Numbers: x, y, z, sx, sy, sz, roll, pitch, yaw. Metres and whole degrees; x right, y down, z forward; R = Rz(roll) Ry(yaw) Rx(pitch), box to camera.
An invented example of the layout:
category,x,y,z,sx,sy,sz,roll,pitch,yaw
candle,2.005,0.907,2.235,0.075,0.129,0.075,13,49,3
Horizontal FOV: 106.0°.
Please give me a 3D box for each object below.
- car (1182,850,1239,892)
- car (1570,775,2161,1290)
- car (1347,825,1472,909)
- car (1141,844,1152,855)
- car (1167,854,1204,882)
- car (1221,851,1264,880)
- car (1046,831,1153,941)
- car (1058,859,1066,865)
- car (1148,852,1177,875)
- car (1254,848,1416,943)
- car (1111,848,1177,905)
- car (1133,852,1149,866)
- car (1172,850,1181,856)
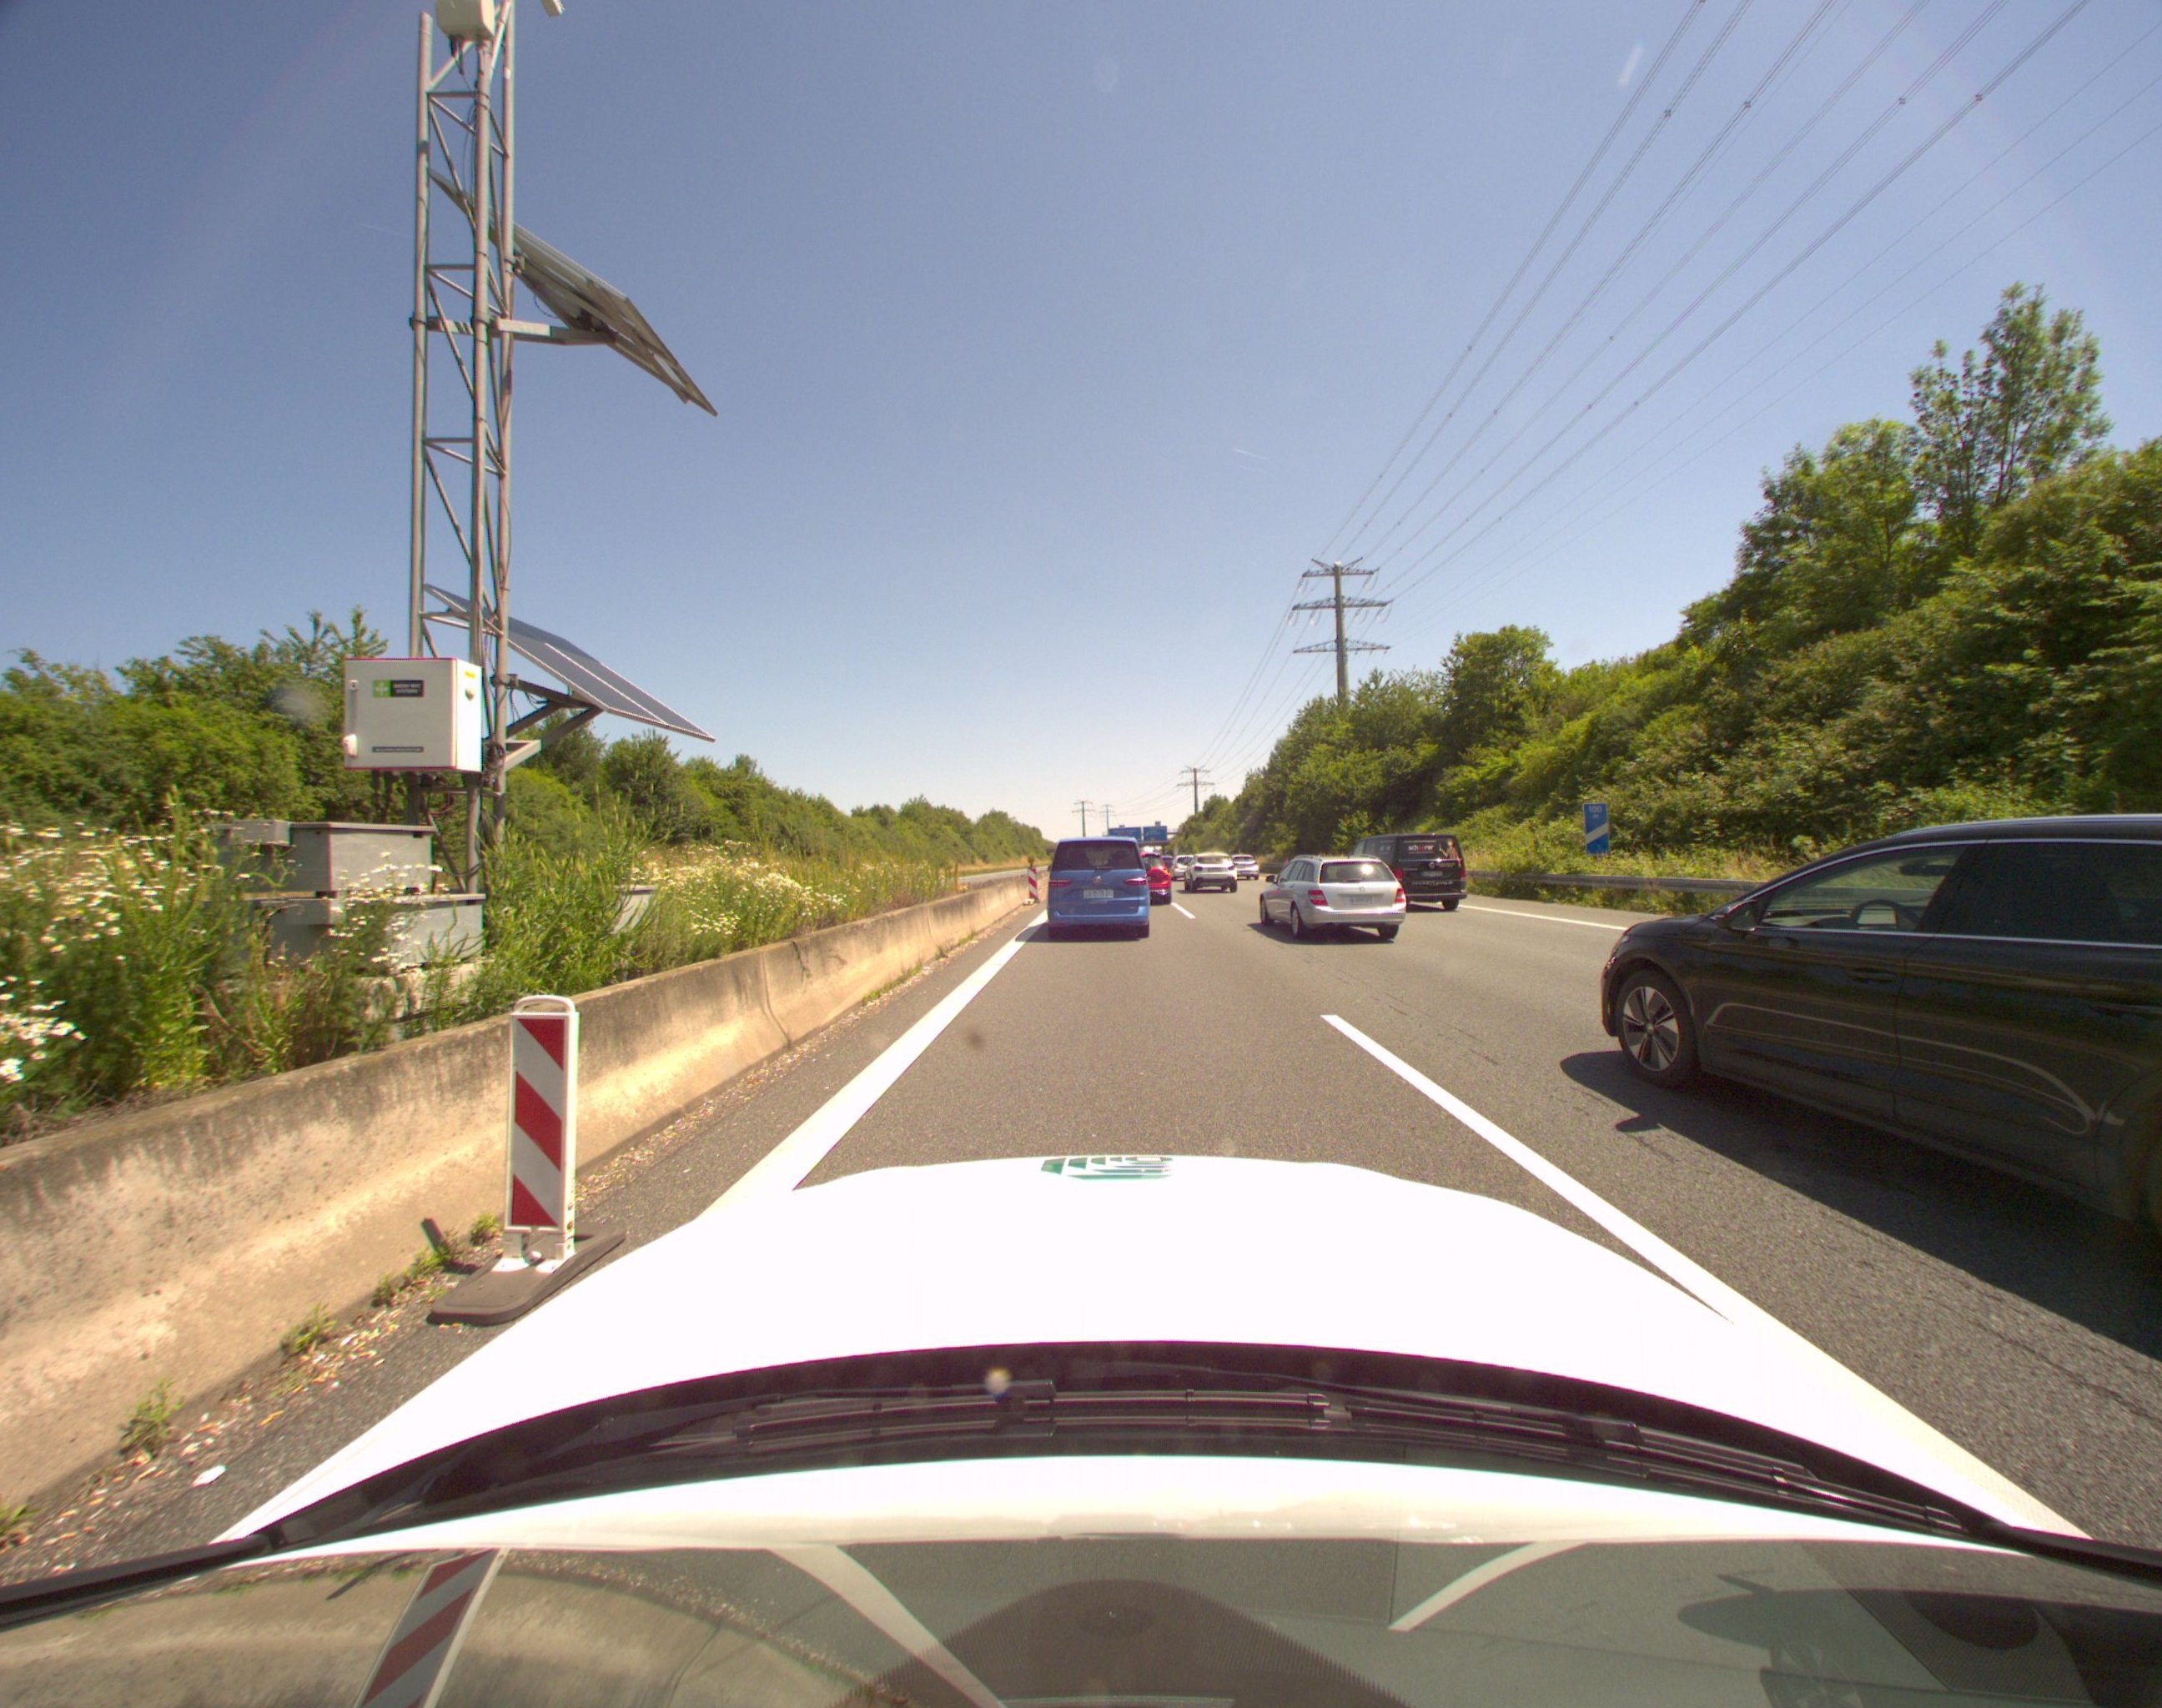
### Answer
category,x,y,z,sx,sy,sz,roll,pitch,yaw
car,5.160,0.649,32.971,1.791,1.594,4.228,0,0,2
car,4.331,0.576,3.627,1.695,1.655,4.430,0,0,1
car,8.545,0.323,21.600,1.790,2.014,4.230,0,0,3
car,15.574,-1.029,193.067,2.368,2.428,4.228,0,-1,2
car,6.079,0.800,47.821,1.791,1.594,4.228,0,0,2
car,9.310,0.644,47.297,1.791,1.594,4.228,0,0,2
car,0.362,0.575,16.473,1.868,1.912,4.360,0,0,1
car,-5.566,2.260,239.135,1.986,1.650,4.632,-4,0,2
car,5.848,0.662,58.978,1.791,1.594,4.228,0,0,2
car,4.558,0.687,15.333,1.764,1.517,4.360,0,0,1
car,1.935,0.668,26.095,1.868,1.671,4.360,0,0,1
car,7.126,0.598,97.132,1.791,1.594,4.228,0,0,2
car,25.421,-0.215,216.639,1.868,1.671,4.360,0,0,1
